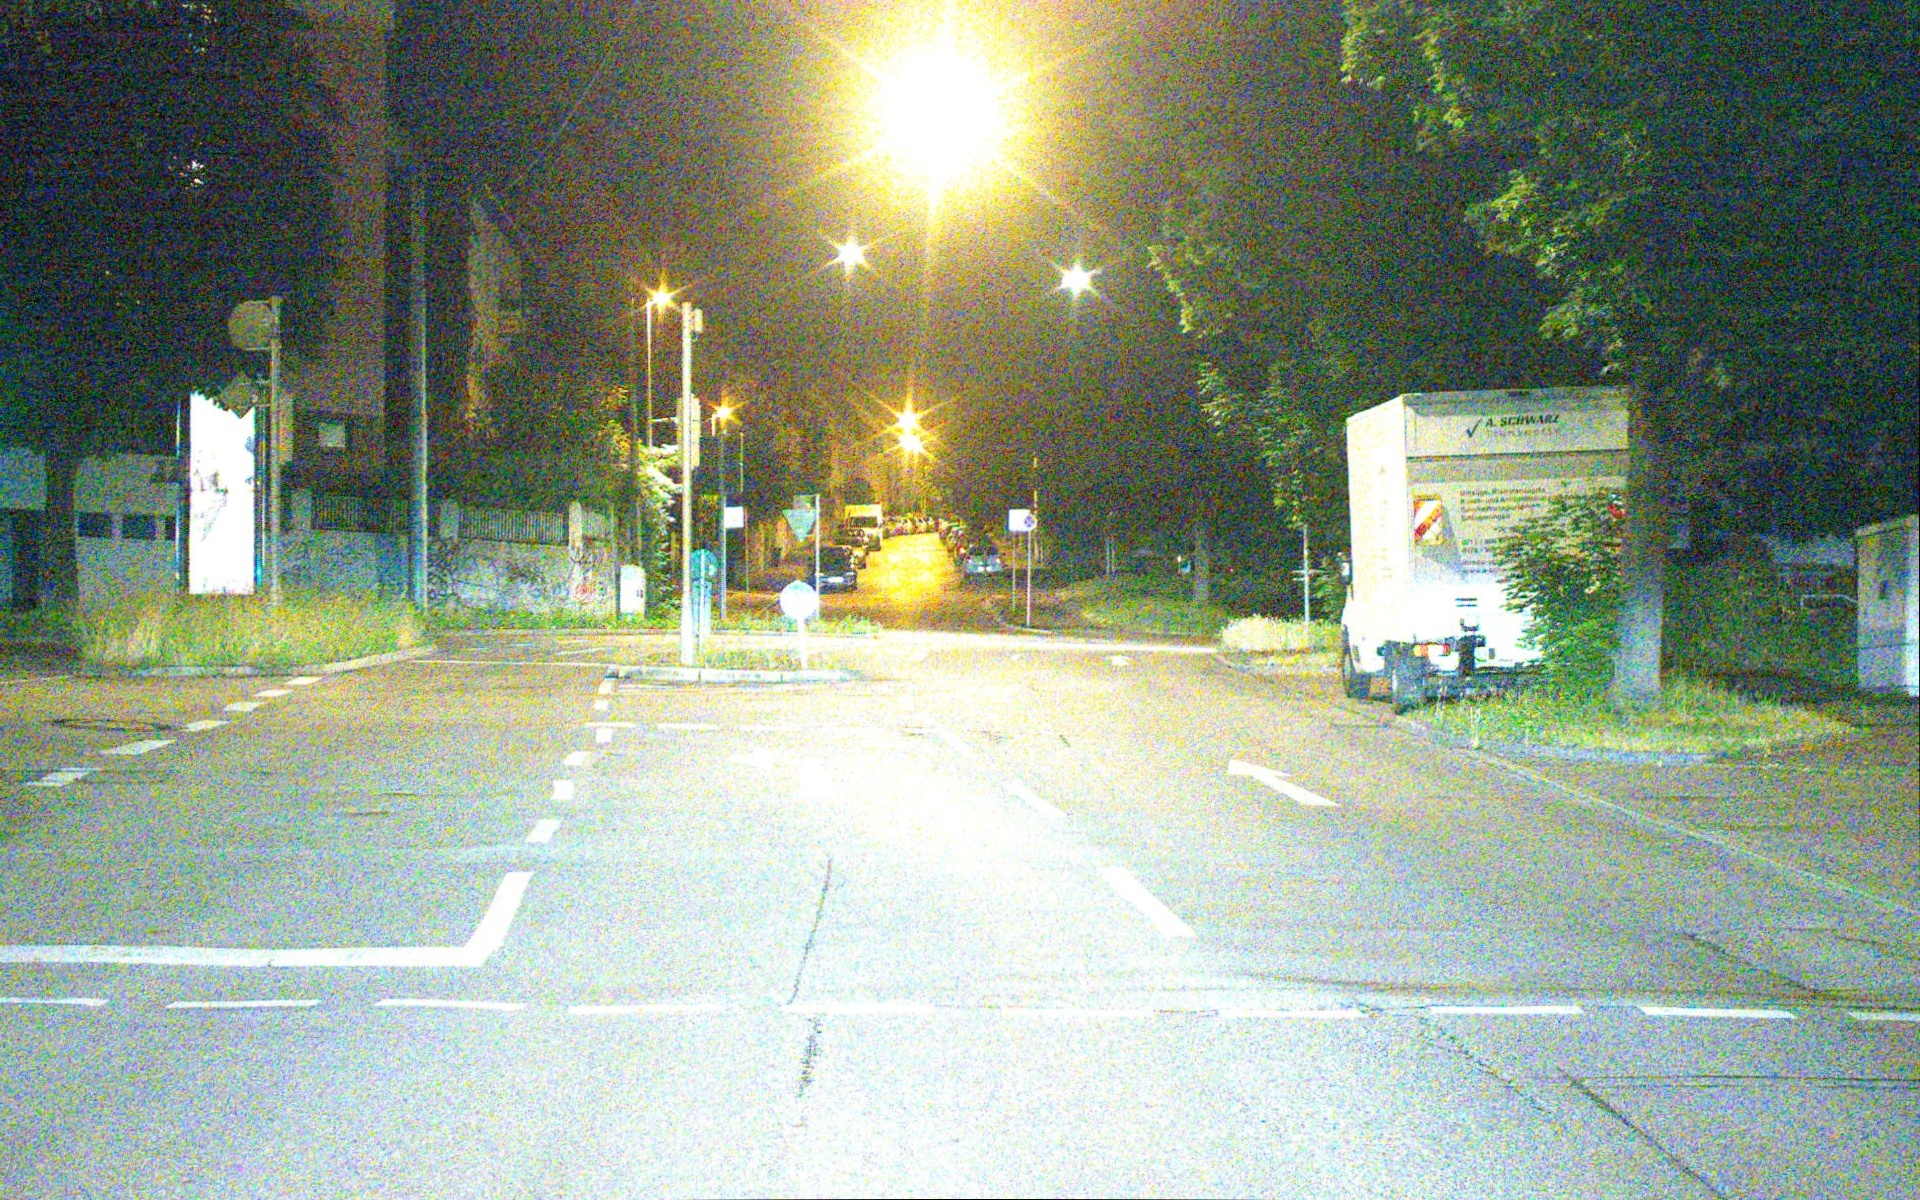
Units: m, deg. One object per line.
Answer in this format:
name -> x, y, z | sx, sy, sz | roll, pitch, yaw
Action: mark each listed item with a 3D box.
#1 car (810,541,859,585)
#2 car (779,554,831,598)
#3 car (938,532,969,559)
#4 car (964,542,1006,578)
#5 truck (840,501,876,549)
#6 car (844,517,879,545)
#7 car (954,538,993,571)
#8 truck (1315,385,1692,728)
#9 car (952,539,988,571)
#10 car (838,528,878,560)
car -> -4.899, -1.457, 134.437 | 1.815, 1.678, 4.000 | 1, 1, -1
car -> -5.327, -0.847, 118.216 | 1.634, 1.447, 3.485 | 1, 1, -1
car -> -0.377, -3.051, 191.474 | 1.634, 1.447, 3.485 | 1, 1, -1
car -> 1.027, -1.674, 143.351 | 1.634, 1.447, 3.485 | 1, 1, -1
truck -> -6.217, -4.540, 209.569 | 2.086, 2.838, 5.832 | 1, 1, -2
car -> -5.372, -3.734, 186.939 | 1.815, 1.486, 4.000 | 1, 1, -2
car -> 0.588, -2.032, 153.084 | 1.634, 1.447, 3.485 | 1, 1, -1
truck -> 5.303, -0.447, 34.626 | 2.749, 3.100, 6.258 | 1, 1, 0
car -> 0.451, -2.083, 159.269 | 1.634, 1.447, 3.485 | 1, 1, -1
car -> -4.792, -2.612, 160.558 | 1.815, 1.486, 4.000 | 1, 1, -2
